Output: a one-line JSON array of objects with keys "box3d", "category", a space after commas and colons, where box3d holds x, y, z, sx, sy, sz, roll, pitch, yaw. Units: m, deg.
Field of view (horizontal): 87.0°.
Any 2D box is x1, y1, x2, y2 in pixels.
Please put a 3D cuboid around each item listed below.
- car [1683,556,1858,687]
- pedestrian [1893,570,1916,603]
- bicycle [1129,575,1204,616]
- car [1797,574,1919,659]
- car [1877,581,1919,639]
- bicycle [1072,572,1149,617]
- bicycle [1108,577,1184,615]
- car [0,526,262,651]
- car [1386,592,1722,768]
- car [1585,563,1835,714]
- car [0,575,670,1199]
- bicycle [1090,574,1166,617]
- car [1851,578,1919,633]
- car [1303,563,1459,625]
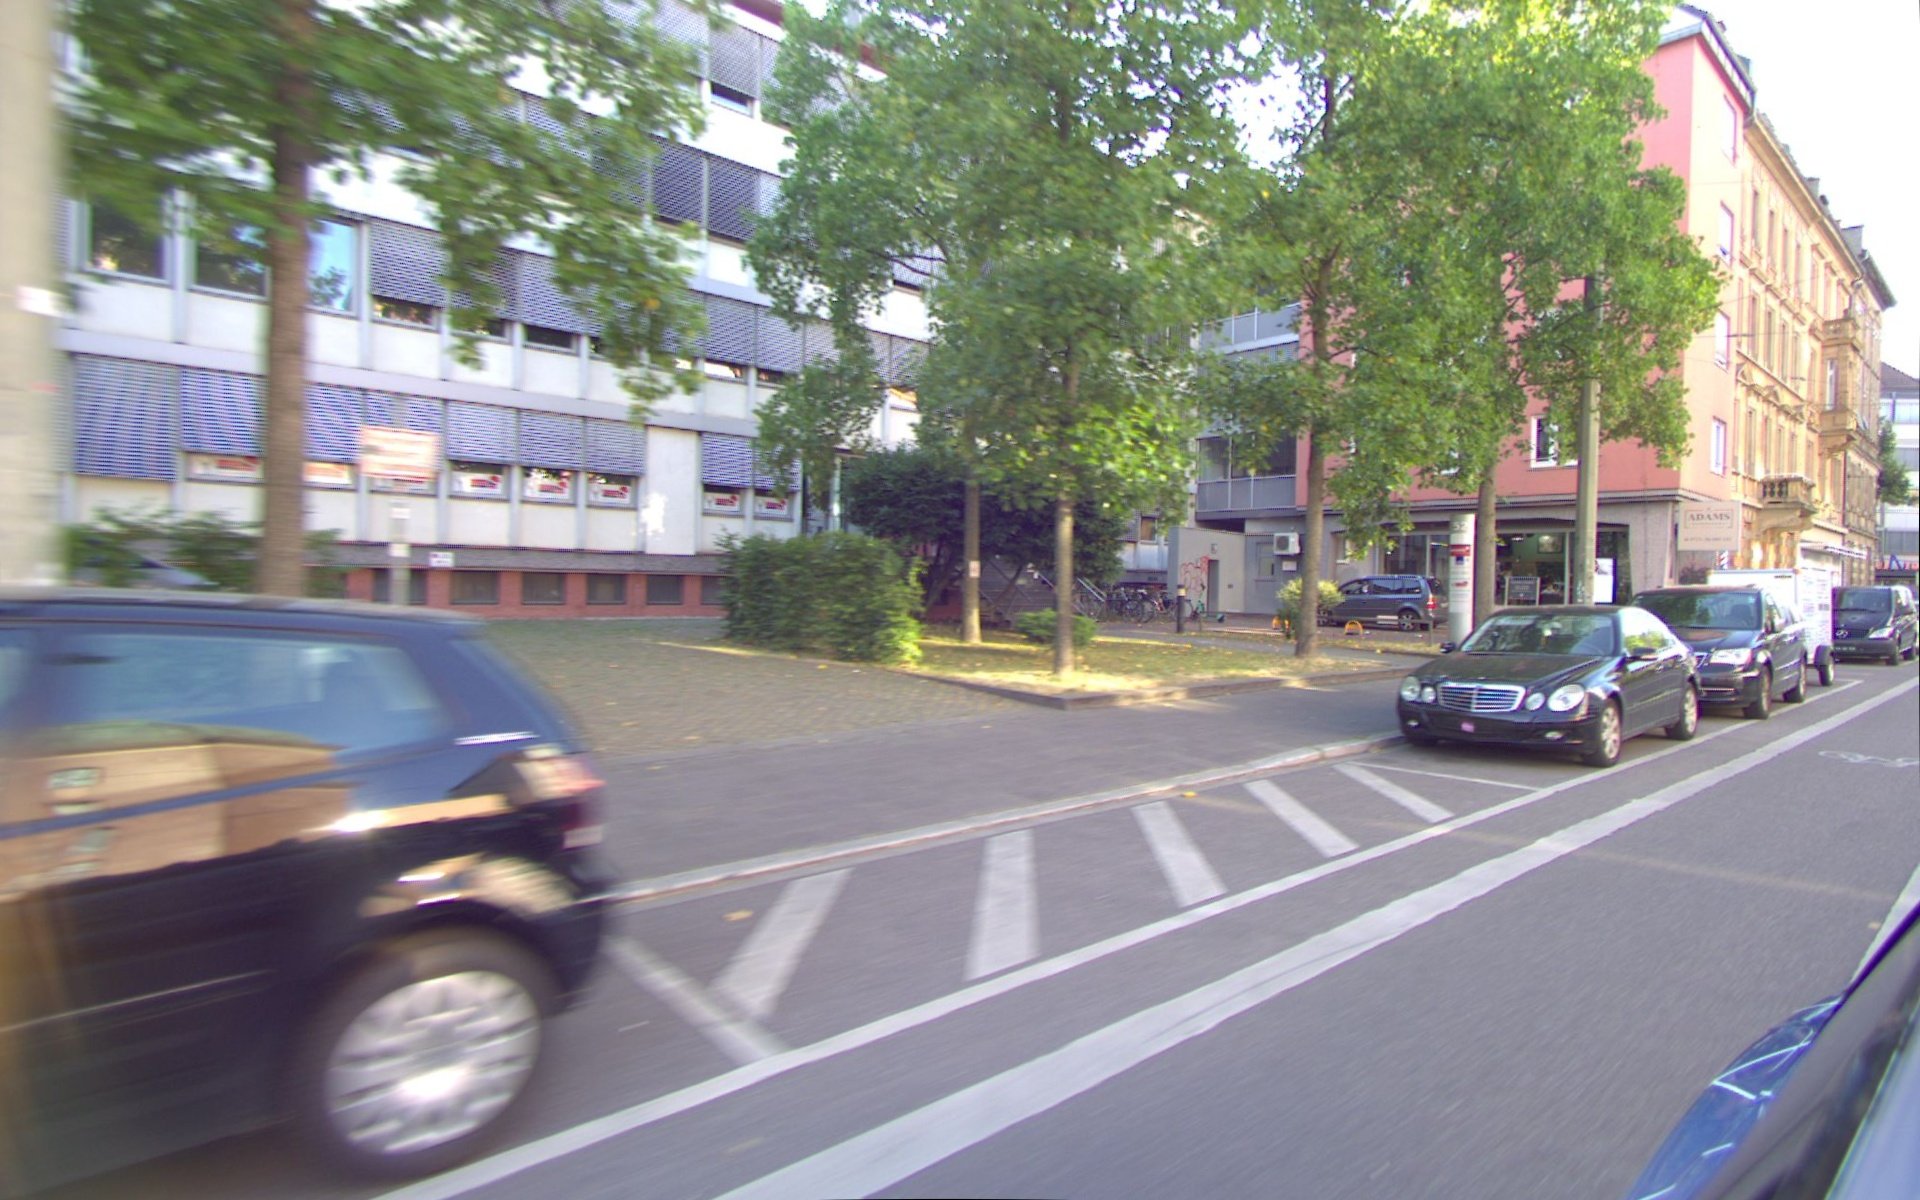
[{"box3d": [14.694, 0.310, 18.299, 3.640, 2.146, 1.709, -1, 1, -39], "category": "car"}, {"box3d": [50.814, -0.724, 54.451, 1.015, 1.687, 0.785, 2, -1, -40], "category": "pedestrian"}, {"box3d": [6.514, -0.157, 32.067, 0.846, 1.185, 2.327, 0, 3, -36], "category": "bicycle"}, {"box3d": [22.345, 0.354, 24.806, 4.901, 1.892, 1.959, -1, 0, -40], "category": "car"}, {"box3d": [31.284, 0.277, 32.614, 4.790, 1.794, 1.970, -1, 0, -41], "category": "car"}, {"box3d": [4.422, -0.185, 29.977, 0.846, 1.204, 2.327, 0, 3, -36], "category": "bicycle"}, {"box3d": [5.741, -0.139, 31.427, 0.846, 1.056, 2.382, 0, 3, -36], "category": "bicycle"}, {"box3d": [-11.990, -0.167, 13.340, 4.362, 1.513, 1.868, 1, 1, -43], "category": "car"}, {"box3d": [6.300, 0.669, 10.483, 4.594, 1.445, 1.718, 1, 0, -42], "category": "car"}, {"box3d": [10.936, 0.441, 14.592, 5.094, 1.811, 1.951, -1, 0, -43], "category": "car"}, {"box3d": [-2.829, 0.680, 2.224, 3.915, 1.450, 1.624, -1, 0, -41], "category": "car"}, {"box3d": [5.087, -0.161, 30.783, 0.846, 1.166, 2.327, 0, 3, -36], "category": "bicycle"}, {"box3d": [27.217, 0.133, 29.317, 3.895, 1.515, 1.732, -1, 0, -43], "category": "car"}, {"box3d": [12.808, -0.224, 30.946, 4.031, 1.669, 1.750, 4, 3, 44], "category": "car"}]
